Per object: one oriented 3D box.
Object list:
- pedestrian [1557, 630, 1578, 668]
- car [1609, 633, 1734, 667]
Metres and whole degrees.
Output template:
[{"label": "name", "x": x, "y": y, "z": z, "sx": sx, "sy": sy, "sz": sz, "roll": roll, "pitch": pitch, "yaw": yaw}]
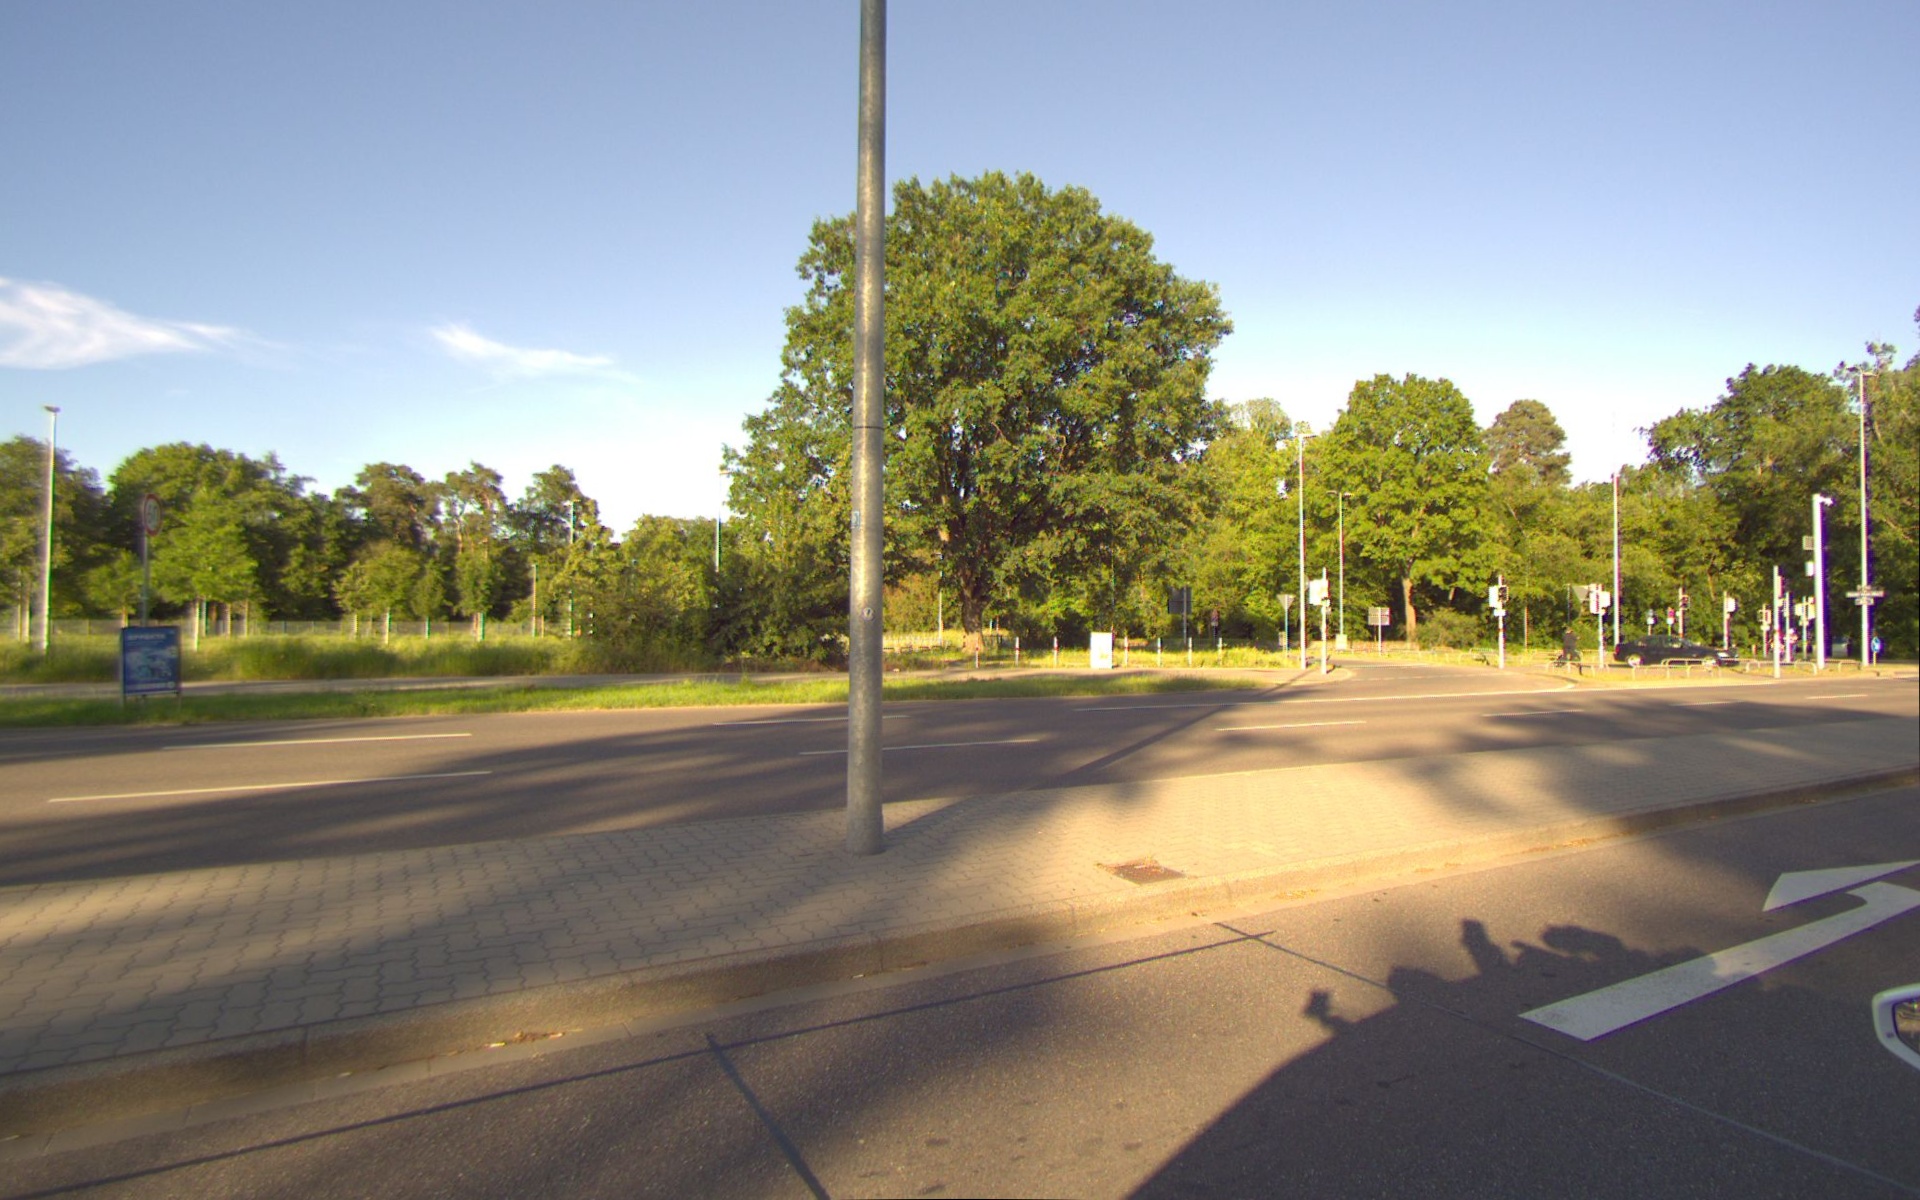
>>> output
[{"label": "pedestrian", "x": 25.731, "y": 2.074, "z": 42.556, "sx": 0.636, "sy": 1.580, "sz": 0.539, "roll": 0, "pitch": -2, "yaw": 18}, {"label": "car", "x": 30.621, "y": 2.139, "z": 43.356, "sx": 1.734, "sy": 1.405, "sz": 4.077, "roll": 1, "pitch": -2, "yaw": -34}]
